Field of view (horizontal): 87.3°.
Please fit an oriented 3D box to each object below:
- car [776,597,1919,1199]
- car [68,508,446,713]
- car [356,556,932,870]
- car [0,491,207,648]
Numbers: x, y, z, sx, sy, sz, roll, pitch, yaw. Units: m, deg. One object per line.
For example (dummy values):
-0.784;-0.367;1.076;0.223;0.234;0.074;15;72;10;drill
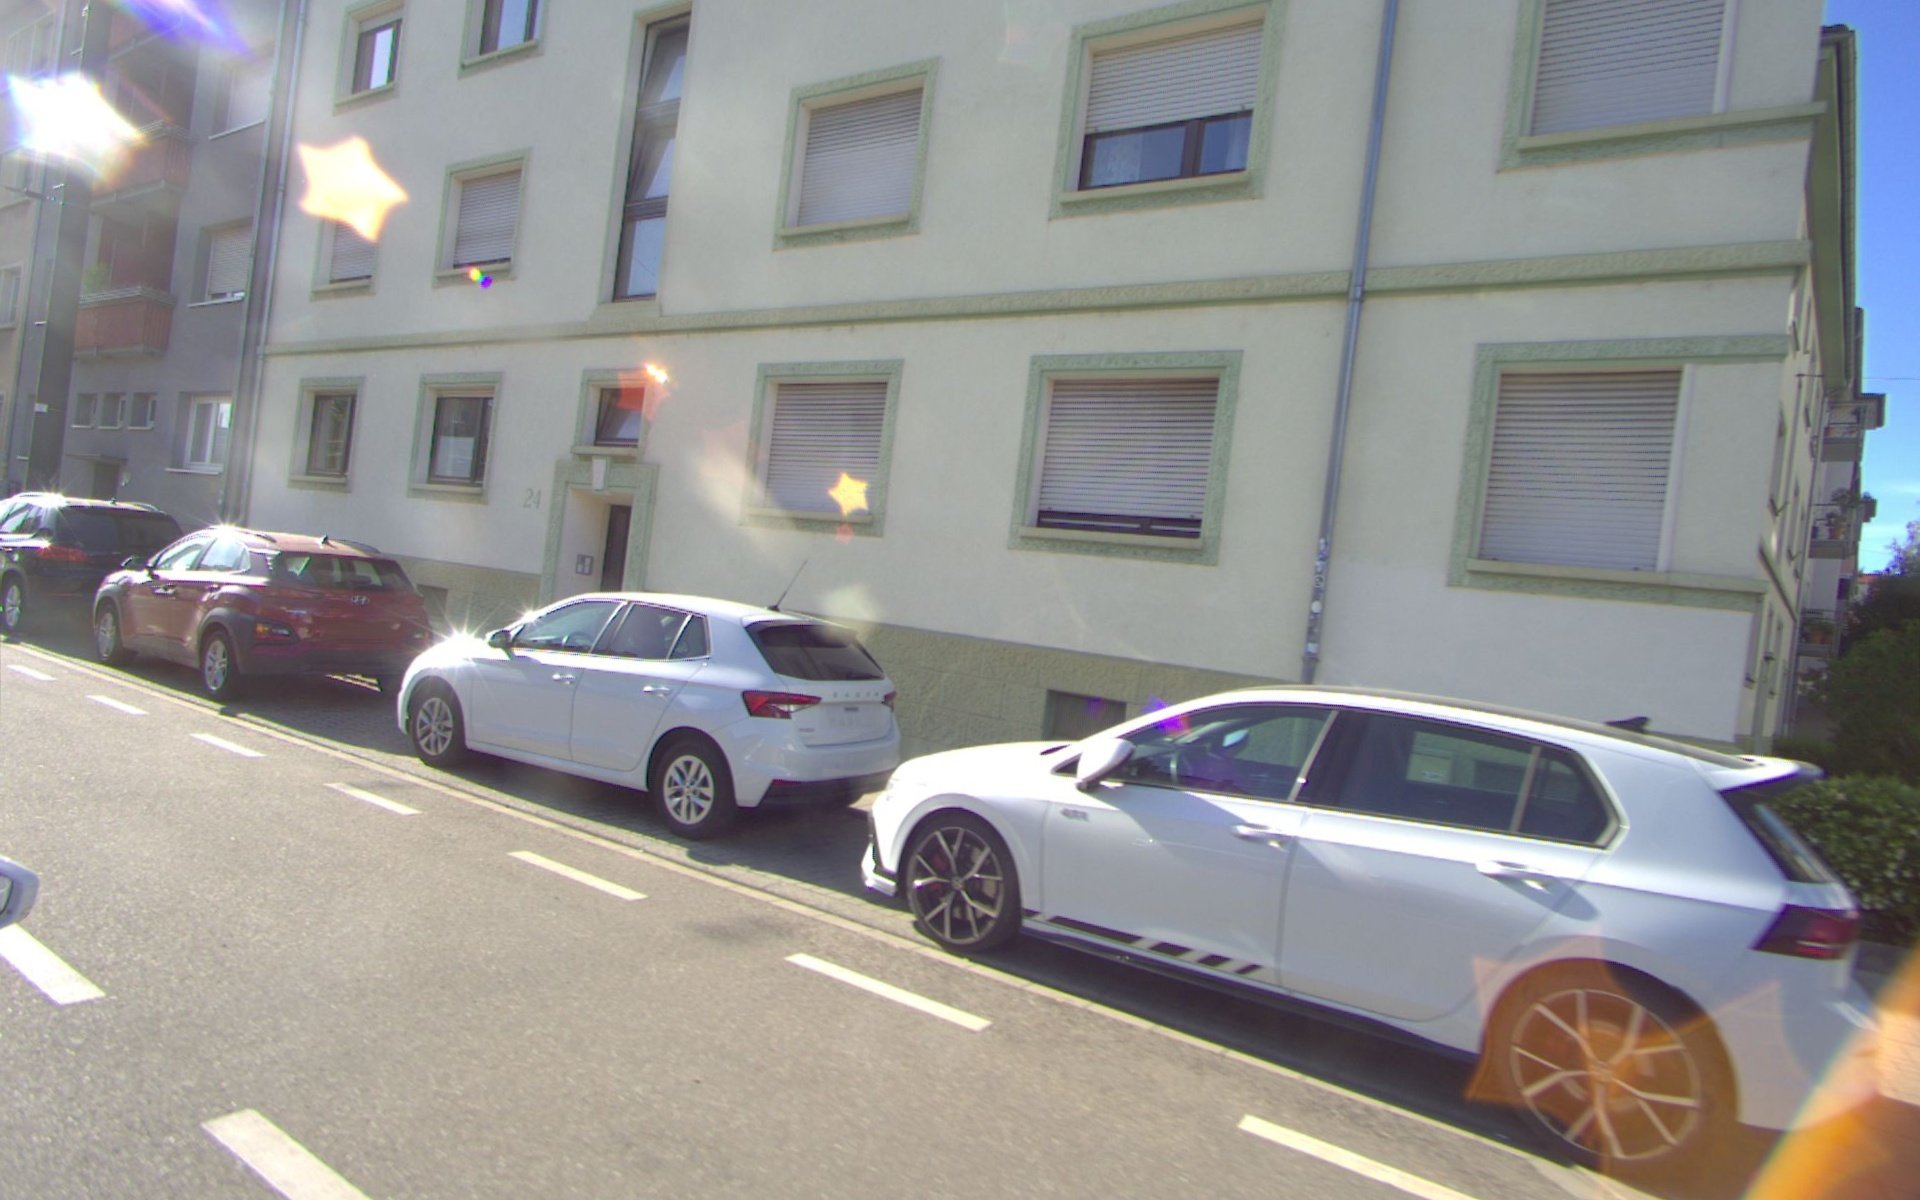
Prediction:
1.391;1.006;4.718;4.307;1.476;1.696;7;0;32;car
-7.341;0.055;10.398;4.119;1.536;1.637;7;0;32;car
-2.422;0.672;7.503;4.011;1.476;1.639;7;0;28;car
-11.858;-0.490;13.094;4.299;1.669;1.637;7;1;30;car
